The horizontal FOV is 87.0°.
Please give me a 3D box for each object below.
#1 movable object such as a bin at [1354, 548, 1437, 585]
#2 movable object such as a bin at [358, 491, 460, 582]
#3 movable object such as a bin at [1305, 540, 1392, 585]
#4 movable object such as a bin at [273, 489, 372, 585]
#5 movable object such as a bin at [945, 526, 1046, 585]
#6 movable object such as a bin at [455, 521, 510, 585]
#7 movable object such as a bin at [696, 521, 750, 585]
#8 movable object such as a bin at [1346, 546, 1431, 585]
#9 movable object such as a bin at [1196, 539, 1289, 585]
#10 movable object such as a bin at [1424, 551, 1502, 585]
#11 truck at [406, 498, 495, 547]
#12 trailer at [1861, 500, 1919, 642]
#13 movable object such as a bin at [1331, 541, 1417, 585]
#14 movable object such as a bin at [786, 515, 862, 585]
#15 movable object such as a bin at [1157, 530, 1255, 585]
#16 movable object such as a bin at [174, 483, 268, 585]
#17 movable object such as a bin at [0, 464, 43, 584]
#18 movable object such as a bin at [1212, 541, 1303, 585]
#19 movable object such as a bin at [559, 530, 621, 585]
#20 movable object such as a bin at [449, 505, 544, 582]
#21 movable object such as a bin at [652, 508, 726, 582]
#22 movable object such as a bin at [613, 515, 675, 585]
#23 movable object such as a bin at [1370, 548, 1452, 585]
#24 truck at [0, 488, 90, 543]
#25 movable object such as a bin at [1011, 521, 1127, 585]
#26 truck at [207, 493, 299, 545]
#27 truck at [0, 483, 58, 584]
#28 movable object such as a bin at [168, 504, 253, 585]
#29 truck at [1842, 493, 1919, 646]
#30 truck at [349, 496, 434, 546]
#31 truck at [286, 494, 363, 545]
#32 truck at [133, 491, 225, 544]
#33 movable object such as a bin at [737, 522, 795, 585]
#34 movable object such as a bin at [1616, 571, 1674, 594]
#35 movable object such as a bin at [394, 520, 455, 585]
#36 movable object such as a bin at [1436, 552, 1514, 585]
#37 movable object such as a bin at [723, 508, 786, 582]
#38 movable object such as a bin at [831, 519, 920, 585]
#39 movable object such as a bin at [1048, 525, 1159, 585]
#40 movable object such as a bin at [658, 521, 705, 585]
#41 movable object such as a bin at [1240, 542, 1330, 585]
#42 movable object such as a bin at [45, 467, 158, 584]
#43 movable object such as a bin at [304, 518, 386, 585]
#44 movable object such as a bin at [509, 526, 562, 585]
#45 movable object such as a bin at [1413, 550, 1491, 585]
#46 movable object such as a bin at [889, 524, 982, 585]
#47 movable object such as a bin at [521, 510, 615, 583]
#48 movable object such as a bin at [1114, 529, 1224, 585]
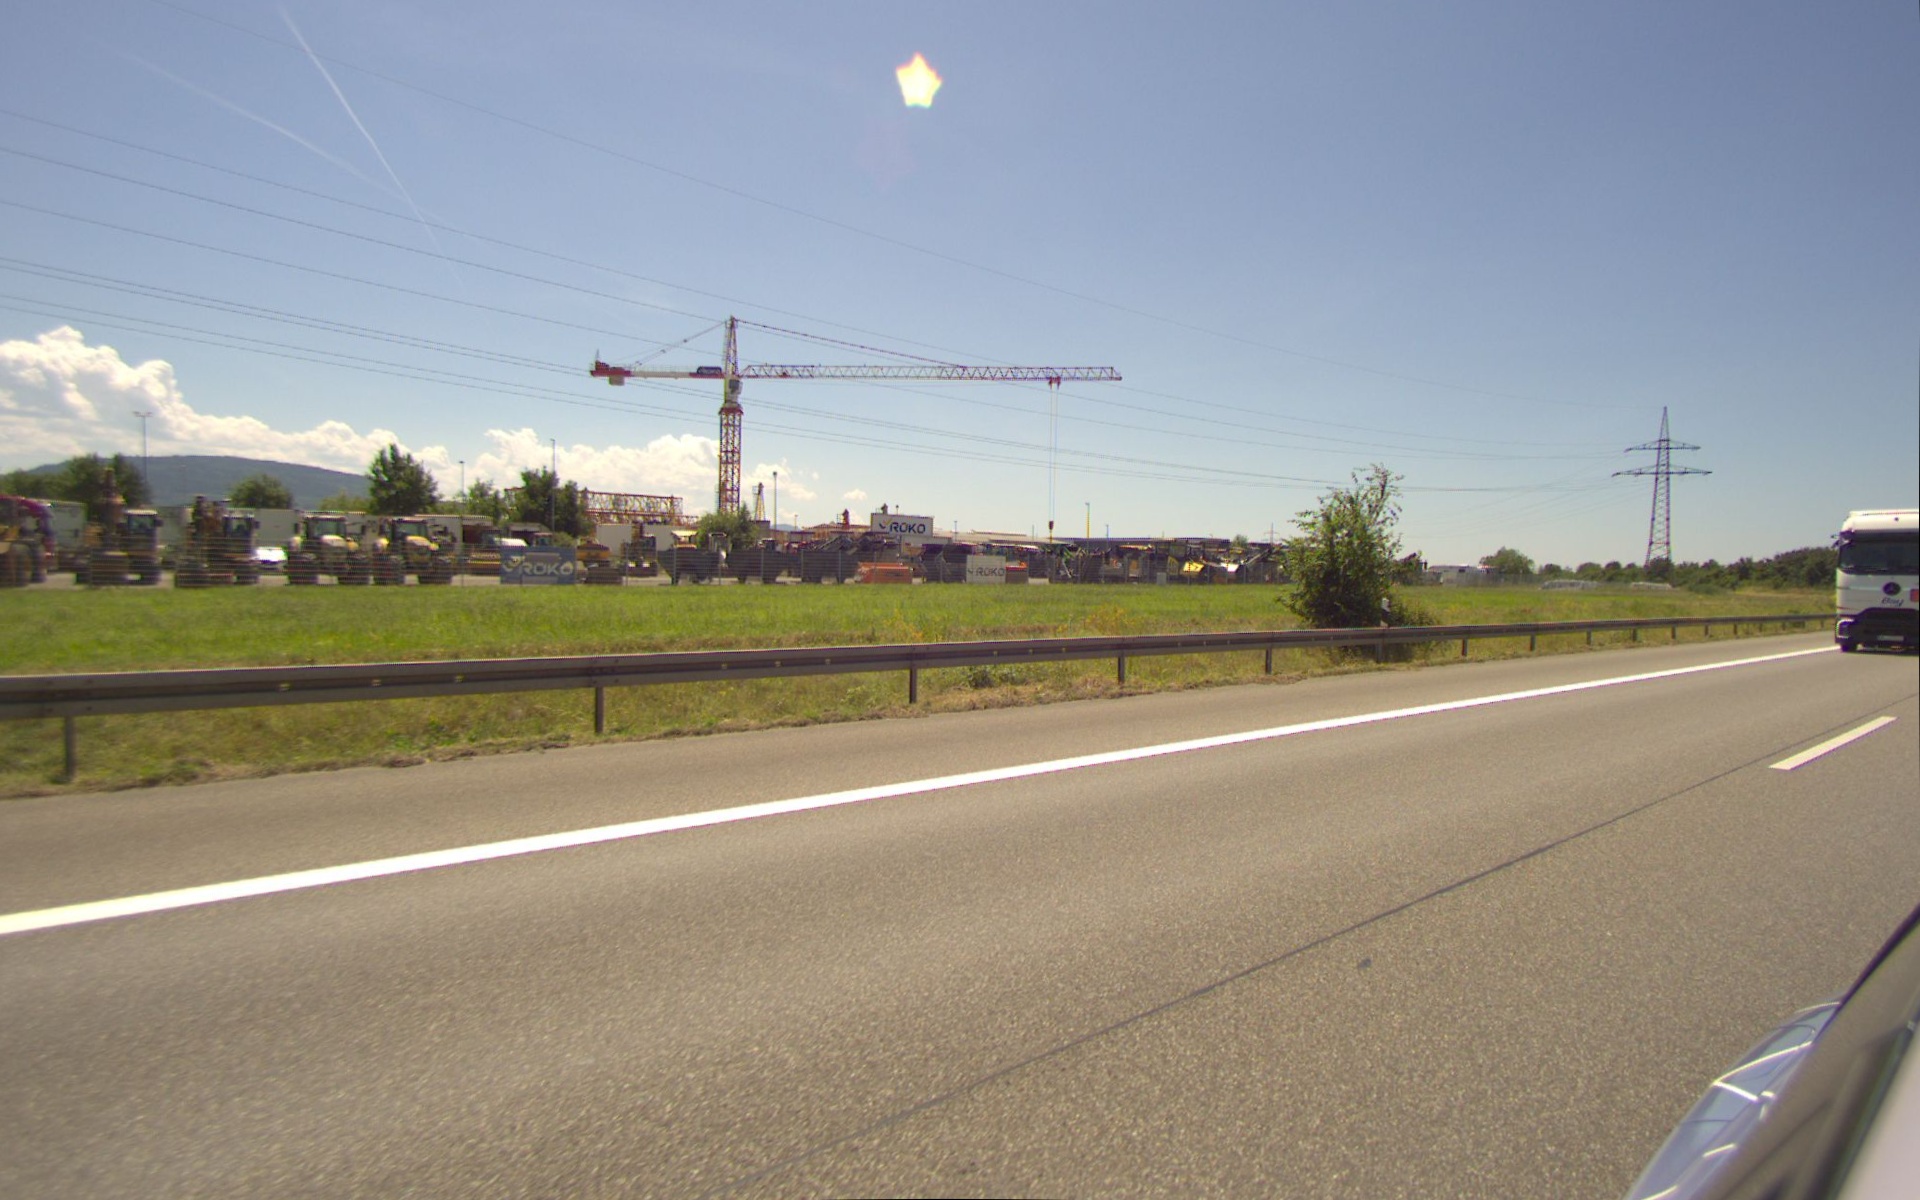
[{"bbox_3d":[48.192,-3.620,112.211,2.829,3.955,8.114,0,1,-38],"label":"movable object such as a bin"},{"bbox_3d":[-26.942,-2.912,49.252,3.080,4.001,8.114,0,1,-38],"label":"movable object such as a bin"},{"bbox_3d":[40.005,-3.774,104.358,2.829,4.429,8.114,0,0,-38],"label":"movable object such as a bin"},{"bbox_3d":[-29.636,-2.725,46.889,3.080,4.001,8.114,0,1,-38],"label":"movable object such as a bin"},{"bbox_3d":[2.488,-3.203,76.418,3.367,4.103,9.399,0,1,-28],"label":"movable object such as a bin"},{"bbox_3d":[-32.650,-3.079,69.237,3.225,4.070,8.507,0,1,-25],"label":"movable object such as a bin"},{"bbox_3d":[-19.243,-3.619,81.731,3.072,4.803,9.625,0,1,-20],"label":"movable object such as a bin"},{"bbox_3d":[46.250,-3.633,109.413,2.829,3.988,8.114,0,1,-38],"label":"movable object such as a bin"},{"bbox_3d":[25.679,-3.362,92.413,2.829,3.955,8.114,0,1,-38],"label":"movable object such as a bin"},{"bbox_3d":[61.232,-3.825,123.253,2.829,3.988,8.114,0,1,-38],"label":"movable object such as a bin"},{"bbox_3d":[-38.568,-5.872,76.470,8.132,3.453,2.799,4,3,38],"label":"truck"},{"bbox_3d":[31.674,-0.876,32.350,13.047,3.942,2.572,-1,1,-41],"label":"trailer"},{"bbox_3d":[43.702,-3.848,107.159,2.829,4.429,8.114,0,0,-38],"label":"movable object such as a bin"},{"bbox_3d":[-8.892,-3.067,64.923,3.364,4.103,9.407,0,1,-17],"label":"movable object such as a bin"},{"bbox_3d":[21.602,-3.640,89.375,3.289,4.569,8.114,0,0,-38],"label":"movable object such as a bin"},{"bbox_3d":[-32.525,-2.690,44.415,3.080,4.001,8.114,0,1,-38],"label":"movable object such as a bin"},{"bbox_3d":[-38.326,-2.812,39.383,3.290,4.351,8.114,0,1,-38],"label":"movable object such as a bin"},{"bbox_3d":[27.784,-3.396,94.982,2.829,3.955,8.114,0,1,-38],"label":"movable object such as a bin"},{"bbox_3d":[-27.176,-2.993,74.128,3.226,3.761,7.903,0,1,-28],"label":"movable object such as a bin"},{"bbox_3d":[-26.372,-3.028,57.345,3.080,4.001,8.114,0,1,-38],"label":"movable object such as a bin"},{"bbox_3d":[-16.300,-3.166,61.506,3.366,4.103,9.401,0,1,-9],"label":"movable object such as a bin"},{"bbox_3d":[-23.652,-3.568,75.472,3.225,4.865,8.507,0,0,-25],"label":"movable object such as a bin"},{"bbox_3d":[50.838,-3.699,114.286,2.829,3.988,8.114,0,1,-38],"label":"movable object such as a bin"},{"bbox_3d":[-62.059,-5.741,68.549,8.122,3.453,2.802,4,3,35],"label":"truck"},{"bbox_3d":[8.236,-3.480,78.006,3.374,4.569,9.379,0,1,-38],"label":"movable object such as a bin"},{"bbox_3d":[-50.568,-5.798,72.314,8.122,3.453,2.802,4,3,35],"label":"truck"},{"bbox_3d":[-47.927,-3.205,49.252,5.875,4.832,3.051,0,0,-39],"label":"truck"},{"bbox_3d":[-46.755,-3.301,63.421,3.227,4.708,8.849,0,1,-30],"label":"movable object such as a bin"},{"bbox_3d":[26.664,-0.812,28.043,5.623,3.942,2.572,-1,1,-41],"label":"truck"},{"bbox_3d":[-42.308,-5.849,75.218,8.137,3.453,2.797,4,3,39],"label":"truck"},{"bbox_3d":[-46.378,-5.824,73.746,8.147,3.453,2.793,4,3,43],"label":"truck"},{"bbox_3d":[-54.965,-5.786,71.145,8.122,3.453,2.802,4,3,35],"label":"truck"},{"bbox_3d":[-16.029,-3.641,83.013,3.072,4.803,9.625,0,1,-20],"label":"movable object such as a bin"},{"bbox_3d":[120.991,-3.082,178.801,2.829,3.988,8.114,0,1,-38],"label":"movable object such as a bin"},{"bbox_3d":[-35.735,-3.028,67.822,3.225,4.014,8.507,0,1,-25],"label":"movable object such as a bin"},{"bbox_3d":[63.593,-3.852,125.155,2.829,3.988,8.114,0,1,-38],"label":"movable object such as a bin"},{"bbox_3d":[-12.459,-3.214,62.067,3.366,4.103,9.401,0,1,-9],"label":"movable object such as a bin"},{"bbox_3d":[-5.875,-3.115,68.495,3.364,4.103,9.405,0,1,-22],"label":"movable object such as a bin"},{"bbox_3d":[11.622,-3.545,83.005,3.374,4.569,9.379,0,1,-38],"label":"movable object such as a bin"},{"bbox_3d":[-21.925,-3.588,79.527,2.658,4.803,7.171,0,0,-23],"label":"movable object such as a bin"},{"bbox_3d":[31.382,-3.438,97.949,2.829,3.955,8.114,0,1,-38],"label":"movable object such as a bin"},{"bbox_3d":[-35.360,-2.848,41.953,3.239,4.351,8.114,0,1,-38],"label":"movable object such as a bin"},{"bbox_3d":[-39.710,-2.995,65.658,3.224,4.014,8.857,0,1,-22],"label":"movable object such as a bin"},{"bbox_3d":[-30.919,-3.104,73.512,3.225,4.014,8.507,0,1,-25],"label":"movable object such as a bin"},{"bbox_3d":[58.897,-3.798,121.320,2.829,3.988,8.114,0,1,-38],"label":"movable object such as a bin"},{"bbox_3d":[-1.986,-3.192,74.426,3.365,4.103,9.403,0,1,-25],"label":"movable object such as a bin"},{"bbox_3d":[-23.567,-3.072,60.572,3.080,4.001,8.114,0,1,-38],"label":"movable object such as a bin"},{"bbox_3d":[17.992,-3.614,87.756,3.374,4.569,9.379,0,1,-38],"label":"movable object such as a bin"}]
